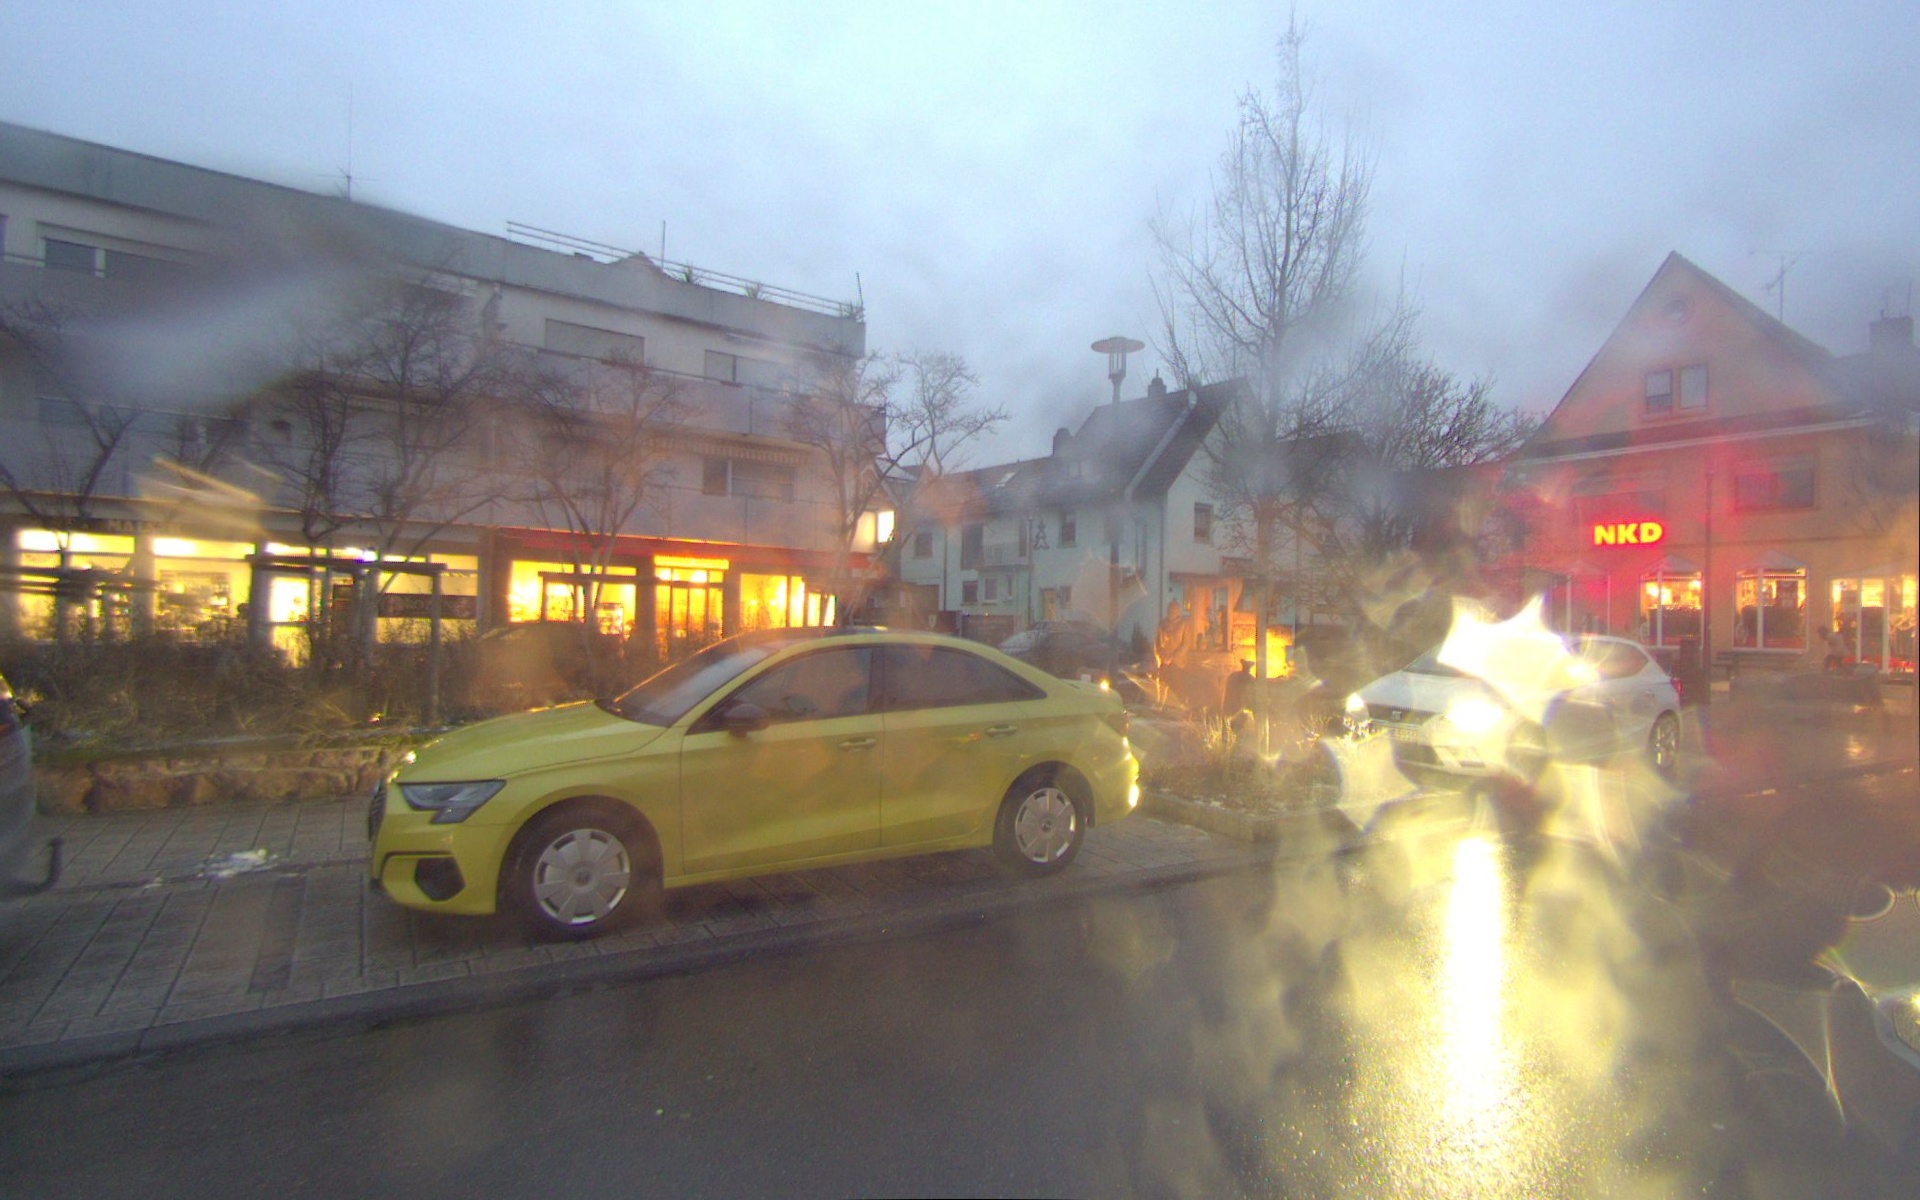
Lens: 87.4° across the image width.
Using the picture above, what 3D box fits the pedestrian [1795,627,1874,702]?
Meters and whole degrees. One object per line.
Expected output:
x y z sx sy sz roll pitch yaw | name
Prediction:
18.374 1.351 21.112 0.766 1.437 0.887 2 5 -25 | pedestrian

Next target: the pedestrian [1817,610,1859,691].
19.628 1.112 22.462 0.678 1.765 0.583 1 -1 -37 | pedestrian

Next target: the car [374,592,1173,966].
-0.969 0.793 6.002 4.289 1.536 1.741 2 0 -29 | car

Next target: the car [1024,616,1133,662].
4.308 1.401 36.935 1.604 1.539 3.854 2 -1 -43 | car

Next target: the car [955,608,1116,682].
1.983 1.135 25.909 3.967 1.743 1.834 2 -1 -40 | car

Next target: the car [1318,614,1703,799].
5.717 0.971 10.332 3.953 1.536 1.661 2 1 -30 | car

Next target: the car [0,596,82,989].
-5.647 0.721 3.434 3.733 1.536 1.682 2 0 -33 | car
